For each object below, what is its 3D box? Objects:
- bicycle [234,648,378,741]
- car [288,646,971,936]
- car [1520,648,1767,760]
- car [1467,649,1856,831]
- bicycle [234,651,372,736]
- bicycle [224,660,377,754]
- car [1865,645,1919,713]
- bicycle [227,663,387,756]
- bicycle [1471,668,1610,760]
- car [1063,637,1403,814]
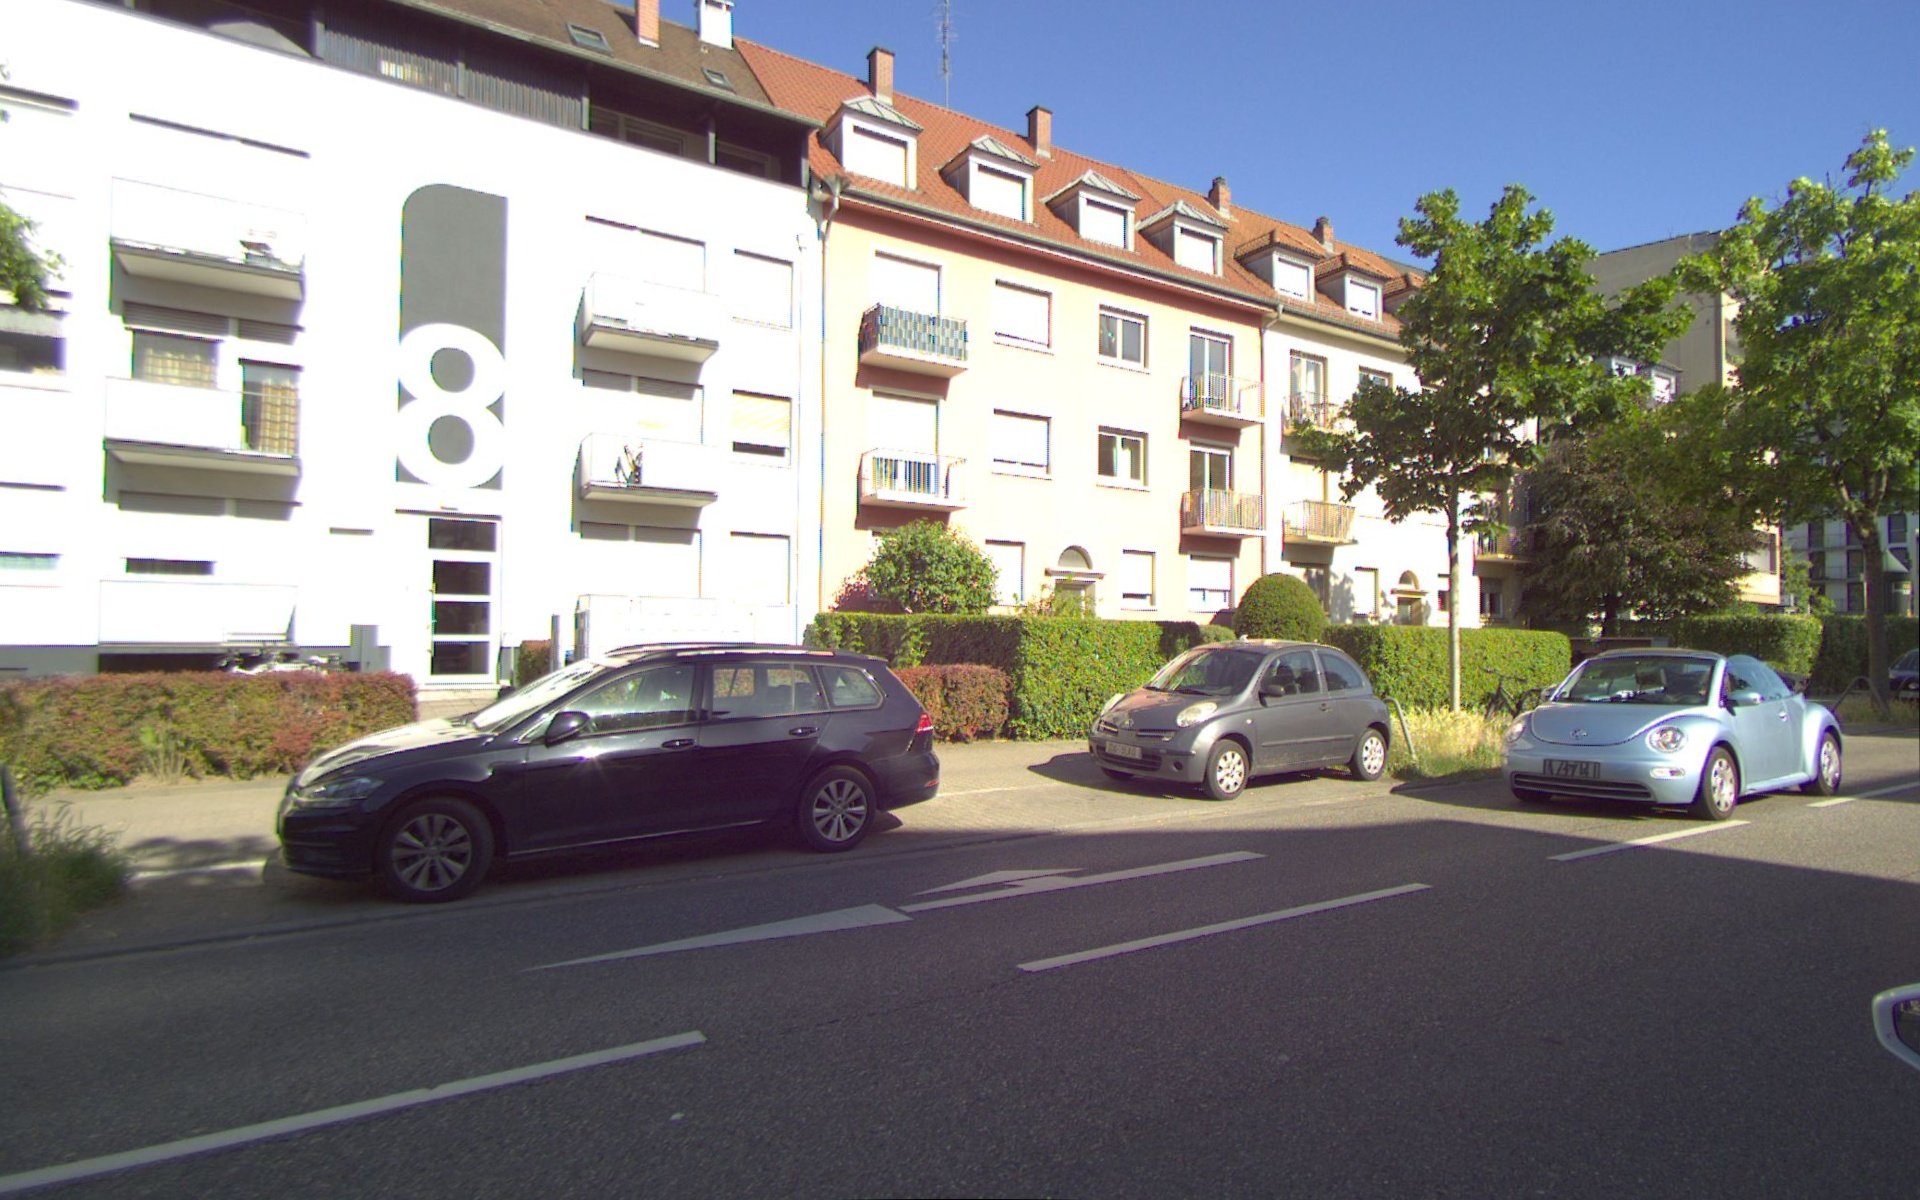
[{"bbox_3d":[-8.453,1.201,13.046,1.531,1.126,0.446,1,-3,-32],"label":"bicycle"},{"bbox_3d":[-2.247,1.122,7.418,4.445,1.513,1.775,1,-2,-33],"label":"car"},{"bbox_3d":[10.574,1.481,15.448,4.323,1.427,1.756,1,-2,-35],"label":"car"},{"bbox_3d":[6.889,1.215,9.784,3.894,1.399,1.728,1,-4,-33],"label":"car"},{"bbox_3d":[-8.893,1.247,13.656,1.531,1.077,0.446,1,-3,-32],"label":"bicycle"},{"bbox_3d":[-8.064,1.288,12.345,1.531,1.067,0.418,1,-3,-32],"label":"bicycle"},{"bbox_3d":[22.713,1.785,23.120,4.063,1.476,1.663,1,-3,-31],"label":"car"},{"bbox_3d":[-7.558,1.245,11.696,1.531,0.995,0.397,1,-3,-32],"label":"bicycle"},{"bbox_3d":[7.881,1.522,13.702,0.542,1.149,1.535,1,-3,-32],"label":"bicycle"},{"bbox_3d":[3.034,1.215,10.926,3.622,1.546,1.664,1,0,-35],"label":"car"}]
